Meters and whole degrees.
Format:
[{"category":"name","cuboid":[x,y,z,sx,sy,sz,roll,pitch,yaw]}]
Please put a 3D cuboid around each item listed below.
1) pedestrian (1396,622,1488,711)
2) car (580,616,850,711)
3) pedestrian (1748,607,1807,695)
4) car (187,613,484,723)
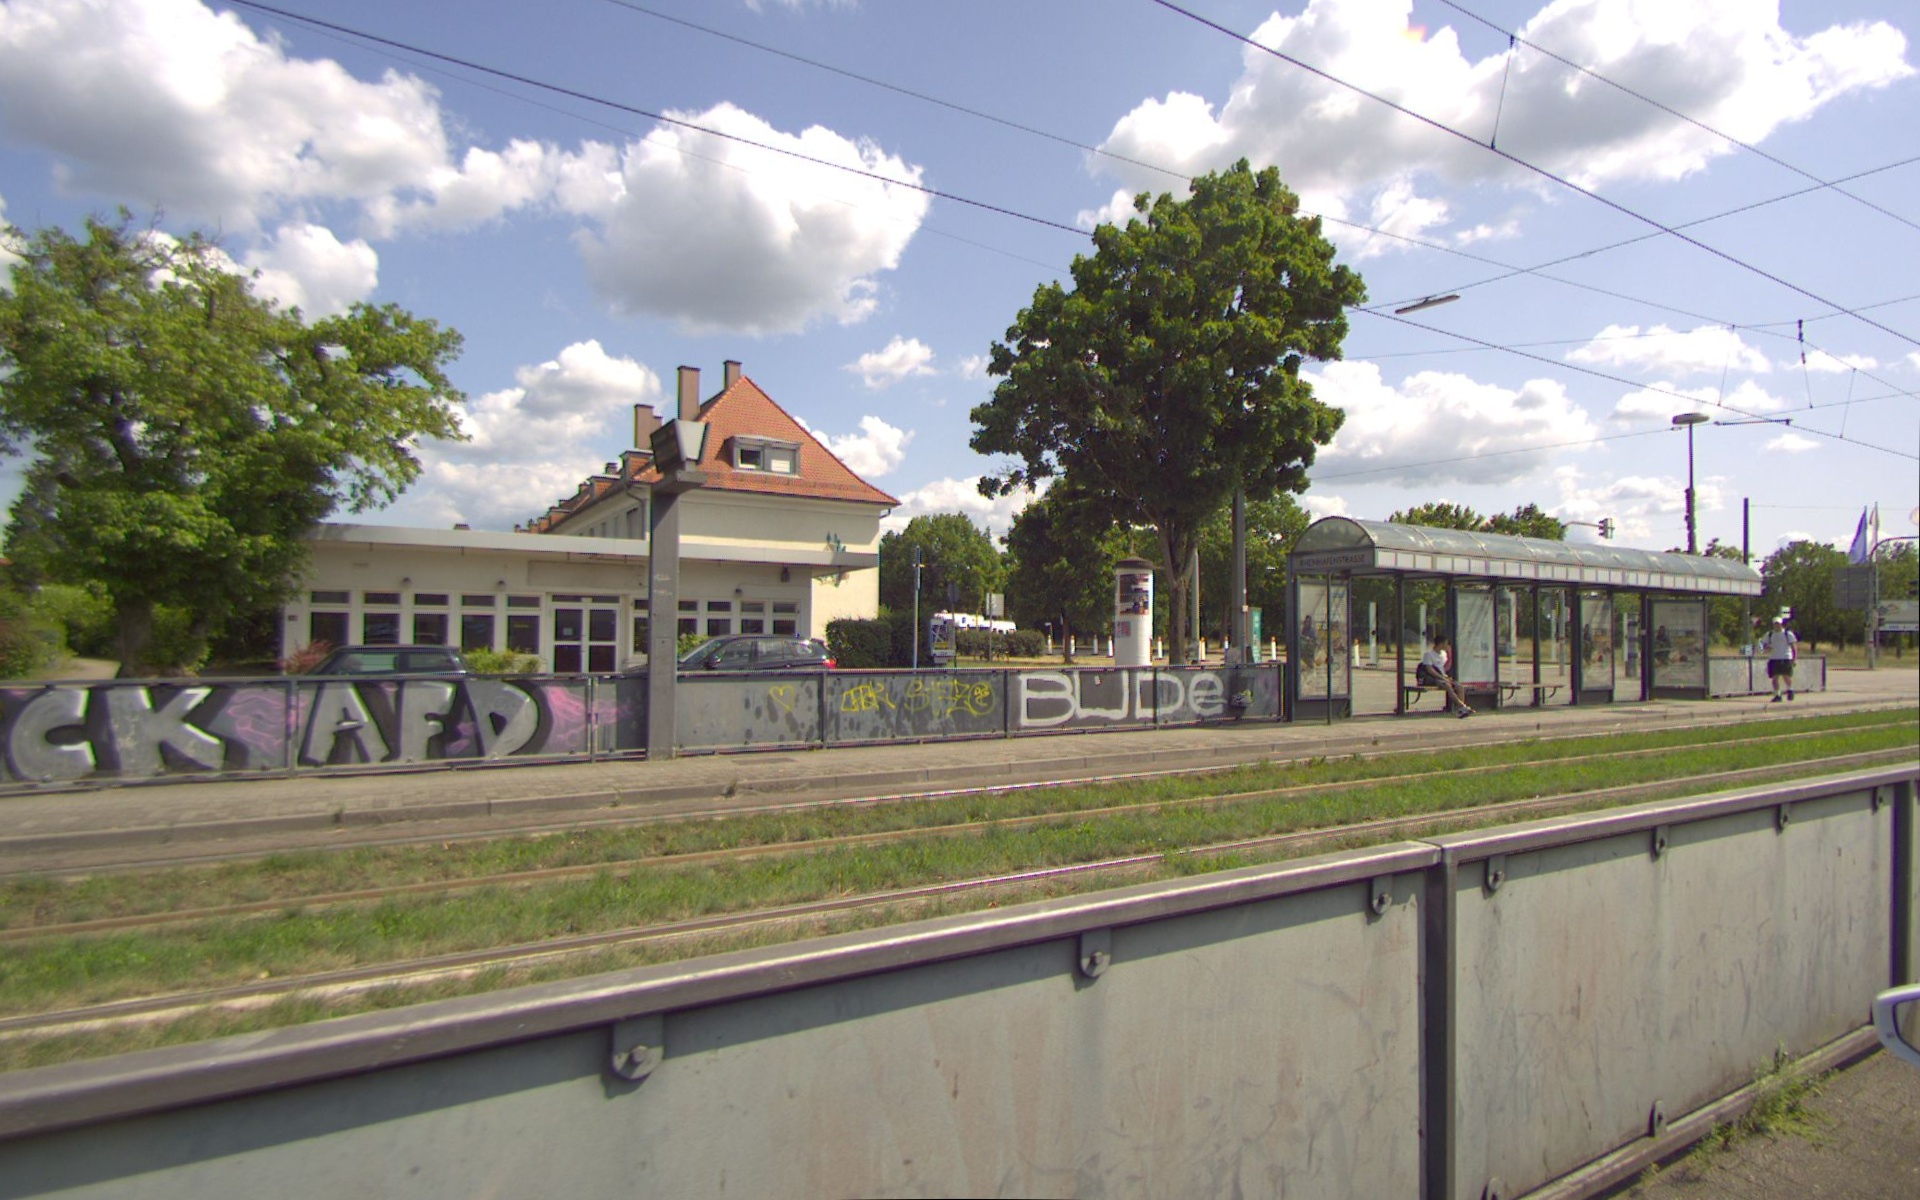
[{"category":"pedestrian","cuboid":[8.010,1.088,16.708,0.850,1.394,1.053,2,0,-30]},{"category":"car","cuboid":[-4.702,1.177,19.580,4.708,1.635,2.046,2,-2,-36]},{"category":"pedestrian","cuboid":[17.400,1.068,21.373,0.701,1.819,0.803,1,-1,-33]},{"category":"car","cuboid":[-9.939,1.041,16.327,3.882,1.605,1.779,1,-1,-29]}]
